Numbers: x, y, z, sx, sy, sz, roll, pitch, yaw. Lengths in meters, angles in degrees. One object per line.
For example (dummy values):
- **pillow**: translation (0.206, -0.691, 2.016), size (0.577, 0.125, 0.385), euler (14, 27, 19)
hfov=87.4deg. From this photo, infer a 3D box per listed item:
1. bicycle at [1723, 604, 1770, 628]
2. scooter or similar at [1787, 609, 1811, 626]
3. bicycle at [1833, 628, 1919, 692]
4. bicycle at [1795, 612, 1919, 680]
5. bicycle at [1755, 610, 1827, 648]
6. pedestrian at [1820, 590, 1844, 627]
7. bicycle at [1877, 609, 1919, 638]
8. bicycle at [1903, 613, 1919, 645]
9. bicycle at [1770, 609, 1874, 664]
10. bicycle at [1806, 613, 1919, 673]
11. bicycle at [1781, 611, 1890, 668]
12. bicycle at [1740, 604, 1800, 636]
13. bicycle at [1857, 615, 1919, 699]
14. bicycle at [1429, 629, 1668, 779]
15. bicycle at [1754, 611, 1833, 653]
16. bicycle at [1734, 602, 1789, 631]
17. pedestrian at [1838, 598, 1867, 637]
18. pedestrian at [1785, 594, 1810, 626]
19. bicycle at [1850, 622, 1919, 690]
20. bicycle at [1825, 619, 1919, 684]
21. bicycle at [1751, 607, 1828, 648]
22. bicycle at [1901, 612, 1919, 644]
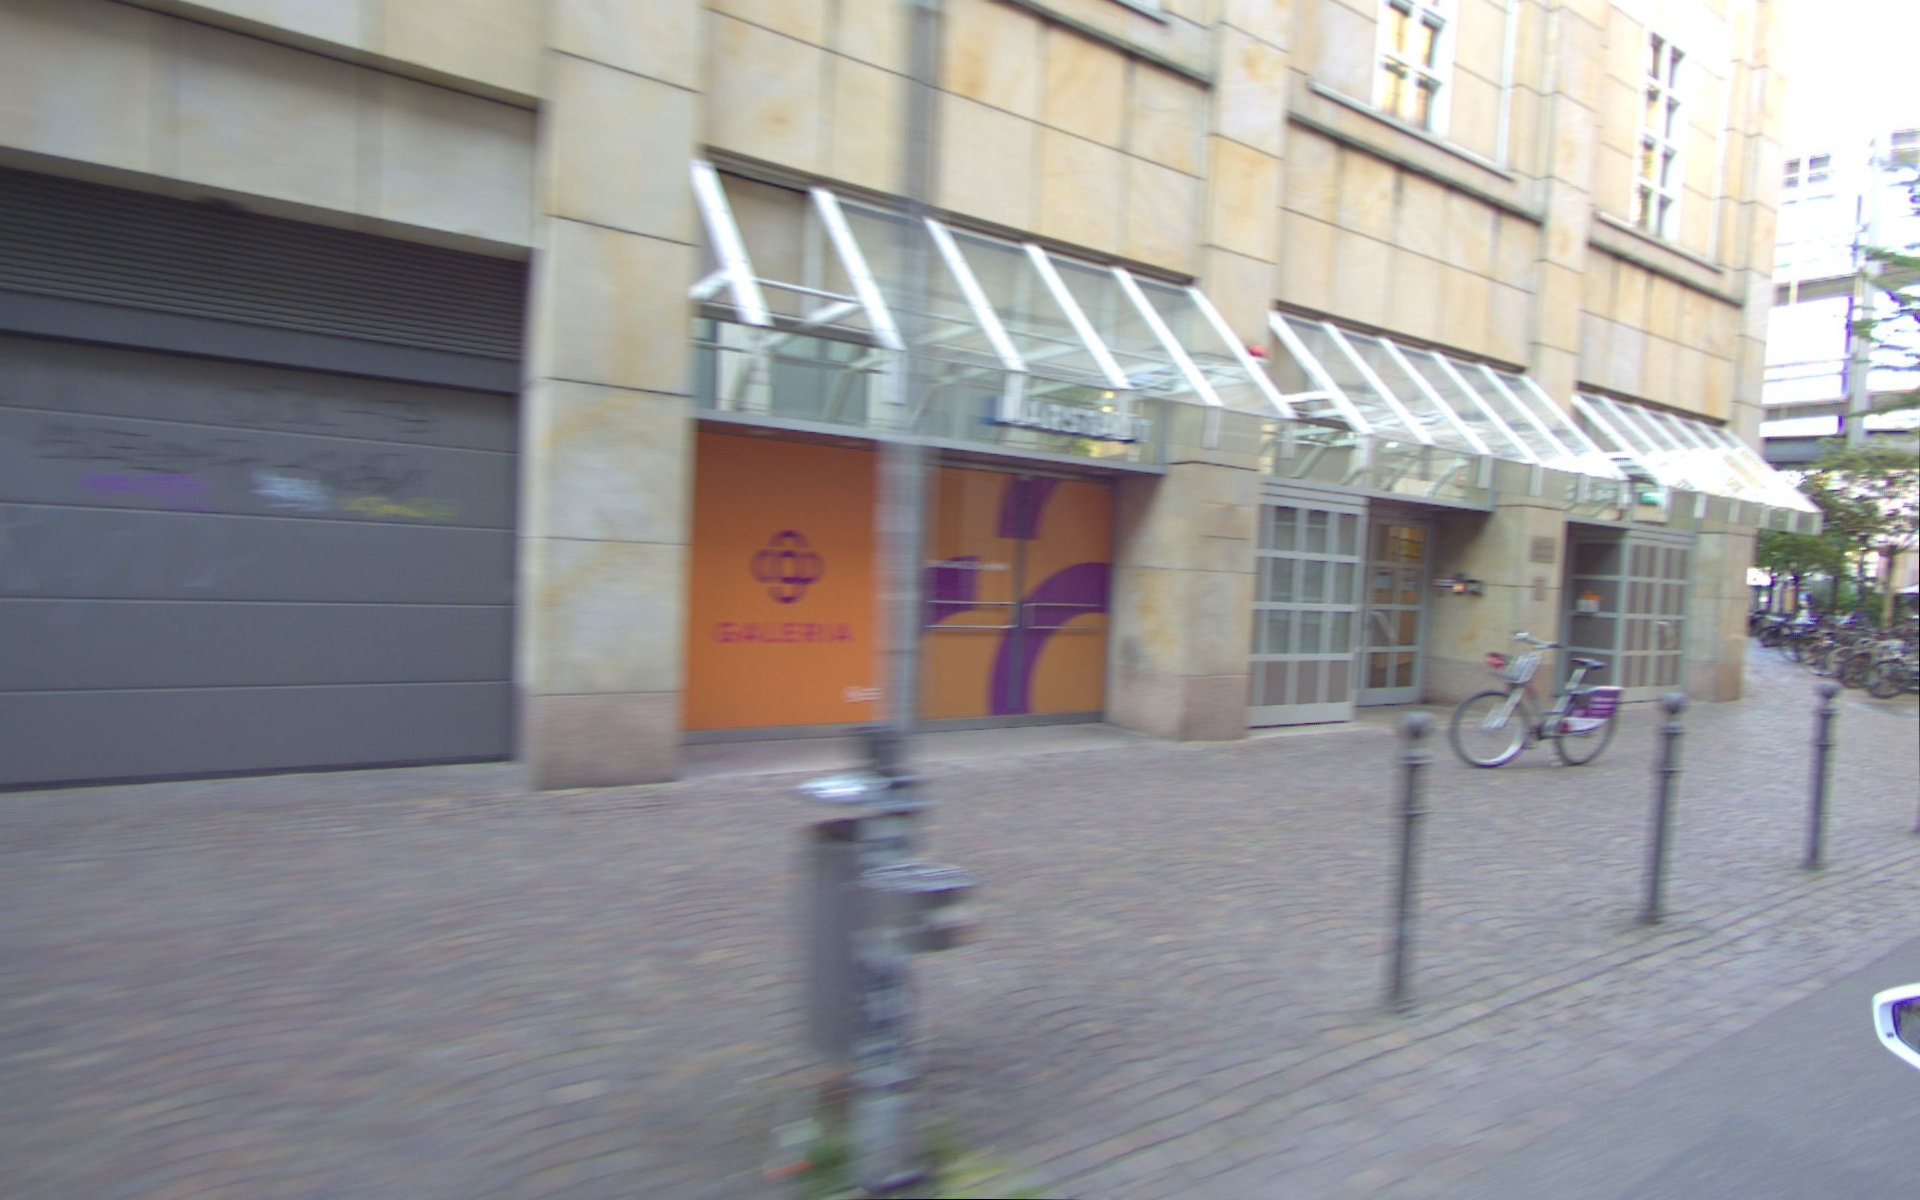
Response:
- **bicycle**: translation (42.501, 0.845, 54.288), size (1.891, 1.198, 0.692), euler (4, 3, 41)
- **scooter or similar**: translation (44.174, 0.910, 52.896), size (0.880, 0.854, 0.908), euler (4, 2, 36)
- **bicycle**: translation (16.440, 1.059, 17.412), size (1.889, 1.008, 0.693), euler (4, 3, 38)
- **bicycle**: translation (18.151, 0.902, 20.302), size (1.891, 1.198, 0.692), euler (4, 3, 41)
- **bicycle**: translation (29.216, 1.014, 35.339), size (1.891, 1.198, 0.692), euler (4, 3, 41)
- **pedestrian**: translation (44.702, 0.416, 51.503), size (0.755, 1.829, 0.774), euler (4, 2, 36)
- **bicycle**: translation (40.555, 1.017, 42.897), size (1.969, 1.198, 0.691), euler (2, 1, 39)
- **bicycle**: translation (37.295, 1.130, 38.203), size (1.969, 1.198, 0.691), euler (2, 1, 39)
- **bicycle**: translation (21.528, 0.886, 25.137), size (1.891, 1.198, 0.692), euler (4, 3, 41)
- **bicycle**: translation (20.721, 0.955, 23.091), size (1.891, 1.198, 0.692), euler (4, 3, 41)
- **bicycle**: translation (20.960, 0.928, 24.094), size (1.891, 1.198, 0.692), euler (4, 3, 41)
- **bicycle**: translation (34.074, 0.831, 42.278), size (1.891, 1.198, 0.692), euler (4, 3, 41)
- **bicycle**: translation (15.662, 0.937, 16.016), size (1.889, 1.278, 0.805), euler (4, 3, 38)
- **bicycle**: translation (4.911, 0.843, 8.397), size (1.748, 1.127, 0.693), euler (2, 2, -18)
- **bicycle**: translation (26.826, 1.001, 32.349), size (1.891, 1.198, 0.692), euler (4, 3, 41)
- **bicycle**: translation (36.529, 0.747, 45.781), size (1.891, 1.198, 0.692), euler (4, 3, 41)
- **pedestrian**: translation (36.121, 0.697, 40.653), size (0.738, 1.530, 0.636), euler (4, 2, 36)
- **pedestrian**: translation (44.731, 0.528, 53.630), size (0.880, 1.661, 0.908), euler (4, 2, 36)
- **bicycle**: translation (17.204, 1.028, 17.905), size (1.889, 1.116, 0.693), euler (4, 3, 38)
- **bicycle**: translation (17.804, 0.992, 19.168), size (1.891, 1.116, 0.692), euler (4, 3, 41)
- **bicycle**: translation (27.309, 0.897, 33.088), size (1.891, 1.198, 0.692), euler (4, 3, 41)
- **bicycle**: translation (37.823, 1.116, 38.874), size (1.969, 1.198, 0.691), euler (2, 1, 39)
